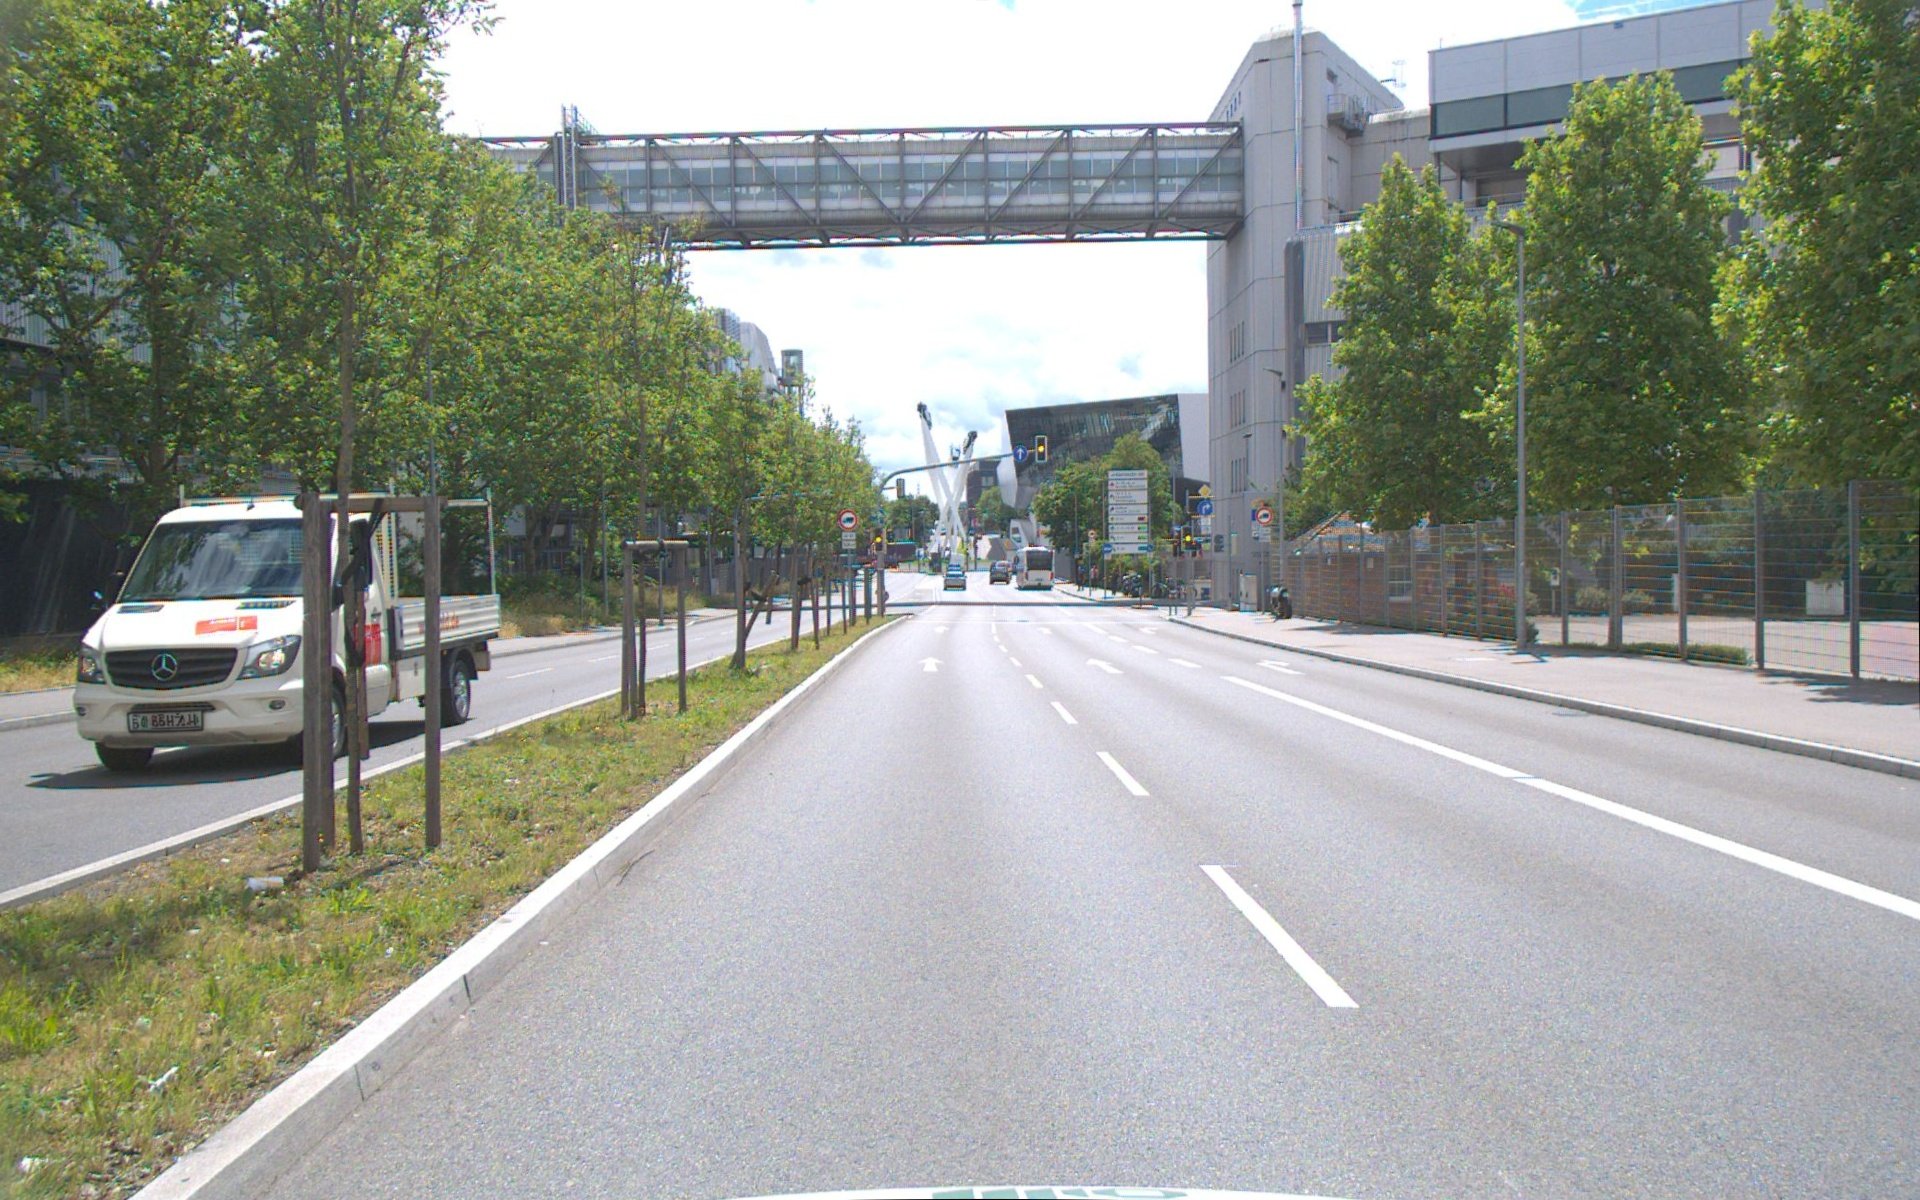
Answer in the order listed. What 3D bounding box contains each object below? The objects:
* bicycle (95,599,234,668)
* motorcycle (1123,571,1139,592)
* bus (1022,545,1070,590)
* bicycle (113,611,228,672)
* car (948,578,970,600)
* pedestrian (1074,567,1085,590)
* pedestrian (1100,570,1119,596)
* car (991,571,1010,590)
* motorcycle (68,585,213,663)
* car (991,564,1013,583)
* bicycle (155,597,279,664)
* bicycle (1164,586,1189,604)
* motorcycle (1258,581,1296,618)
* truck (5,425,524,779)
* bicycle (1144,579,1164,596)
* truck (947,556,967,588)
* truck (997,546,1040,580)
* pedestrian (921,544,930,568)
[{"bbox_3d":[-14.320,0.594,29.818,2.091,1.201,0.806,0,0,-2],"label":"bicycle"},{"bbox_3d":[10.215,-1.113,98.903,0.692,1.224,2.024,-2,1,1],"label":"motorcycle"},{"bbox_3d":[7.033,-2.641,136.815,3.382,3.605,10.605,0,1,0],"label":"bus"},{"bbox_3d":[-14.581,0.762,30.564,1.885,1.093,0.422,0,0,-2],"label":"bicycle"},{"bbox_3d":[-0.072,-0.914,132.888,1.702,1.772,3.692,0,1,0],"label":"car"},{"bbox_3d":[8.796,-1.590,121.923,0.803,1.737,0.881,0,0,0],"label":"pedestrian"},{"bbox_3d":[9.590,-1.062,105.970,0.835,1.653,0.951,0,0,41],"label":"pedestrian"},{"bbox_3d":[3.835,-1.870,156.420,1.702,1.772,3.692,0,1,0],"label":"car"},{"bbox_3d":[-14.224,0.411,28.750,2.091,1.332,0.806,0,0,-2],"label":"motorcycle"},{"bbox_3d":[4.656,-2.916,183.885,1.954,2.049,3.996,1,-1,-4],"label":"car"},{"bbox_3d":[-14.749,0.599,32.879,2.091,1.305,0.806,0,0,-2],"label":"bicycle"},{"bbox_3d":[12.123,-0.284,92.687,0.392,0.953,1.913,0,1,-25],"label":"bicycle"},{"bbox_3d":[10.490,-0.033,54.743,0.679,1.178,2.146,-2,1,-4],"label":"motorcycle"},{"bbox_3d":[-6.433,-0.017,16.510,2.428,2.799,6.458,-1,0,0],"label":"truck"},{"bbox_3d":[11.142,-0.728,94.982,0.391,0.953,1.918,0,1,-18],"label":"bicycle"},{"bbox_3d":[-0.352,-3.552,208.560,2.343,3.965,6.178,0,1,1],"label":"truck"},{"bbox_3d":[8.062,-4.962,225.458,3.380,4.468,9.425,0,1,18],"label":"truck"},{"bbox_3d":[-5.395,-6.787,256.134,1.387,3.663,1.283,0,0,-1],"label":"pedestrian"}]
